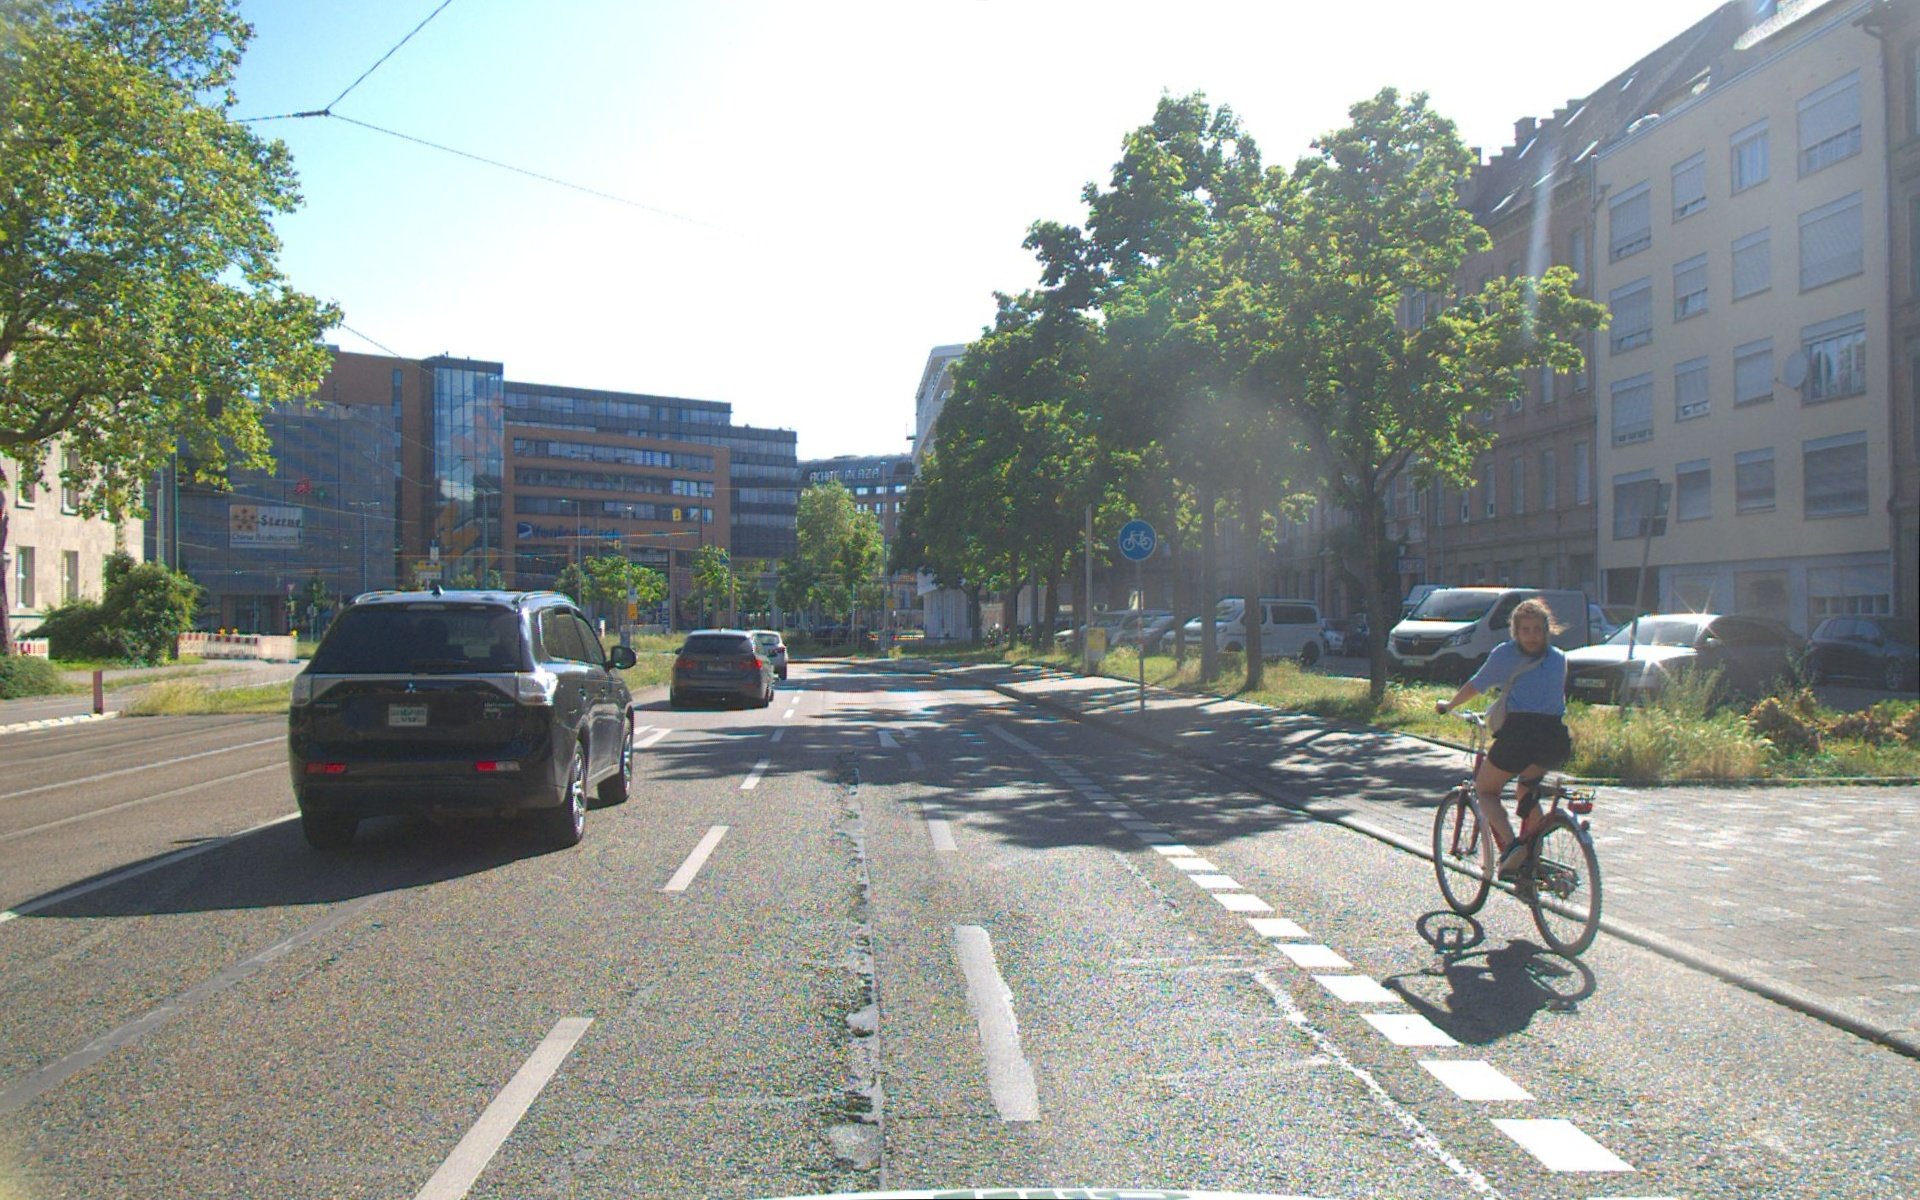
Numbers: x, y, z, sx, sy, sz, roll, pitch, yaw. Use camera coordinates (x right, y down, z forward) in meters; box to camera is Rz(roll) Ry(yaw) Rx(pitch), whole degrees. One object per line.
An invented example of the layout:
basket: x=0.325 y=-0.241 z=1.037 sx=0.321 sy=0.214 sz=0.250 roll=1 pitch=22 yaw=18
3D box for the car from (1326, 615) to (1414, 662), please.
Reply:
car: x=15.452 y=1.452 z=62.548 sx=1.954 sy=1.721 sz=4.509 roll=0 pitch=-1 yaw=-4

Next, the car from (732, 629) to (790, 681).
car: x=-5.985 y=1.678 z=49.620 sx=1.601 sy=1.448 sz=3.775 roll=2 pitch=-3 yaw=-7

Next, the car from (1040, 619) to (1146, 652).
car: x=5.978 y=1.572 z=74.018 sx=4.705 sy=1.404 sz=2.017 roll=1 pitch=-1 yaw=-39

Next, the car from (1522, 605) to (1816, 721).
car: x=10.728 y=0.883 z=24.897 sx=4.831 sy=1.460 sz=1.993 roll=-2 pitch=0 yaw=-38

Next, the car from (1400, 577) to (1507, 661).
car: x=16.541 y=0.624 z=55.674 sx=1.954 sy=2.630 sz=4.510 roll=-2 pitch=0 yaw=-3

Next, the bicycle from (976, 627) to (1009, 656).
bicycle: x=1.535 y=1.938 z=77.370 sx=0.754 sy=1.312 sz=1.592 roll=-2 pitch=-1 yaw=35

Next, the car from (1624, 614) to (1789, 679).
car: x=17.963 y=1.084 z=40.038 sx=1.841 sy=1.445 sz=4.160 roll=-1 pitch=0 yaw=-5

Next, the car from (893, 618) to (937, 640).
car: x=-4.283 y=2.795 z=159.093 sx=3.901 sy=2.049 sz=2.001 roll=0 pitch=-1 yaw=11

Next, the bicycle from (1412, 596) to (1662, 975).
bicycle: x=2.813 y=0.826 z=8.272 sx=0.429 sy=1.667 sz=1.937 roll=0 pitch=-1 yaw=-4

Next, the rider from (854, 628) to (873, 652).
rider: x=-4.844 y=2.018 z=83.291 sx=0.491 sy=1.196 sz=1.677 roll=0 pitch=0 yaw=12

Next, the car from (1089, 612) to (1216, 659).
car: x=7.698 y=1.396 z=65.999 sx=4.823 sy=1.677 sz=2.075 roll=-2 pitch=-1 yaw=-35

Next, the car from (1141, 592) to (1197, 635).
car: x=12.380 y=0.806 z=98.450 sx=2.303 sy=2.398 sz=5.183 roll=-2 pitch=0 yaw=-4

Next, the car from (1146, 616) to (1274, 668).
car: x=7.986 y=1.329 z=52.763 sx=3.990 sy=1.504 sz=1.788 roll=-1 pitch=-1 yaw=-39

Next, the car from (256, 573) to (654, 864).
car: x=-3.415 y=0.769 z=12.136 sx=1.800 sy=1.712 sz=4.637 roll=1 pitch=-2 yaw=-5

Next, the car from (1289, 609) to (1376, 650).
car: x=15.256 y=1.189 z=67.970 sx=1.957 sy=1.555 sz=4.504 roll=-2 pitch=0 yaw=-9

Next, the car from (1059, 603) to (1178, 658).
car: x=6.567 y=1.253 z=68.241 sx=4.833 sy=2.048 sz=2.071 roll=-1 pitch=-1 yaw=-39

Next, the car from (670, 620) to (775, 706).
car: x=-4.440 y=1.219 z=31.429 sx=1.700 sy=1.448 sz=4.461 roll=2 pitch=-3 yaw=-5

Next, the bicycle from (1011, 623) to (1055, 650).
bicycle: x=3.412 y=1.721 z=77.239 sx=1.907 sy=1.201 sz=0.899 roll=-1 pitch=-1 yaw=-6

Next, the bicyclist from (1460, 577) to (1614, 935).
bicyclist: x=2.815 y=0.730 z=8.119 sx=0.429 sy=1.667 sz=0.778 roll=0 pitch=-1 yaw=-4

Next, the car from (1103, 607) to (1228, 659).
car: x=7.753 y=1.238 z=62.223 sx=4.460 sy=1.758 sz=1.976 roll=-2 pitch=-1 yaw=-35

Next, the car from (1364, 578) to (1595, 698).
car: x=10.188 y=0.685 z=32.249 sx=4.834 sy=2.111 sz=1.992 roll=-2 pitch=0 yaw=-40

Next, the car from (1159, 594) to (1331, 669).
car: x=8.655 y=0.943 z=50.080 sx=5.126 sy=2.048 sz=2.075 roll=-2 pitch=-1 yaw=-35

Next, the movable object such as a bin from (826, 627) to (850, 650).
movable object such as a bin: x=-7.573 y=2.362 z=102.503 sx=1.084 sy=1.423 sz=1.322 roll=0 pitch=-1 yaw=15

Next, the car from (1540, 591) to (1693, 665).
car: x=17.709 y=0.737 z=44.890 sx=1.955 sy=1.831 sz=4.621 roll=-2 pitch=0 yaw=-5

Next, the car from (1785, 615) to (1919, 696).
car: x=18.461 y=1.053 z=32.887 sx=1.694 sy=1.445 sz=4.289 roll=-1 pitch=0 yaw=-5

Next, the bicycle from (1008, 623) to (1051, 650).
bicycle: x=3.272 y=1.742 z=78.152 sx=1.919 sy=1.213 sz=0.840 roll=-2 pitch=-1 yaw=-6

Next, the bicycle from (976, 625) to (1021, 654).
bicycle: x=1.835 y=1.902 z=79.652 sx=2.055 sy=1.389 sz=0.785 roll=0 pitch=-2 yaw=-11

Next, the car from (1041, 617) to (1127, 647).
car: x=6.611 y=1.697 z=88.213 sx=4.421 sy=1.593 sz=1.913 roll=1 pitch=-1 yaw=-37
